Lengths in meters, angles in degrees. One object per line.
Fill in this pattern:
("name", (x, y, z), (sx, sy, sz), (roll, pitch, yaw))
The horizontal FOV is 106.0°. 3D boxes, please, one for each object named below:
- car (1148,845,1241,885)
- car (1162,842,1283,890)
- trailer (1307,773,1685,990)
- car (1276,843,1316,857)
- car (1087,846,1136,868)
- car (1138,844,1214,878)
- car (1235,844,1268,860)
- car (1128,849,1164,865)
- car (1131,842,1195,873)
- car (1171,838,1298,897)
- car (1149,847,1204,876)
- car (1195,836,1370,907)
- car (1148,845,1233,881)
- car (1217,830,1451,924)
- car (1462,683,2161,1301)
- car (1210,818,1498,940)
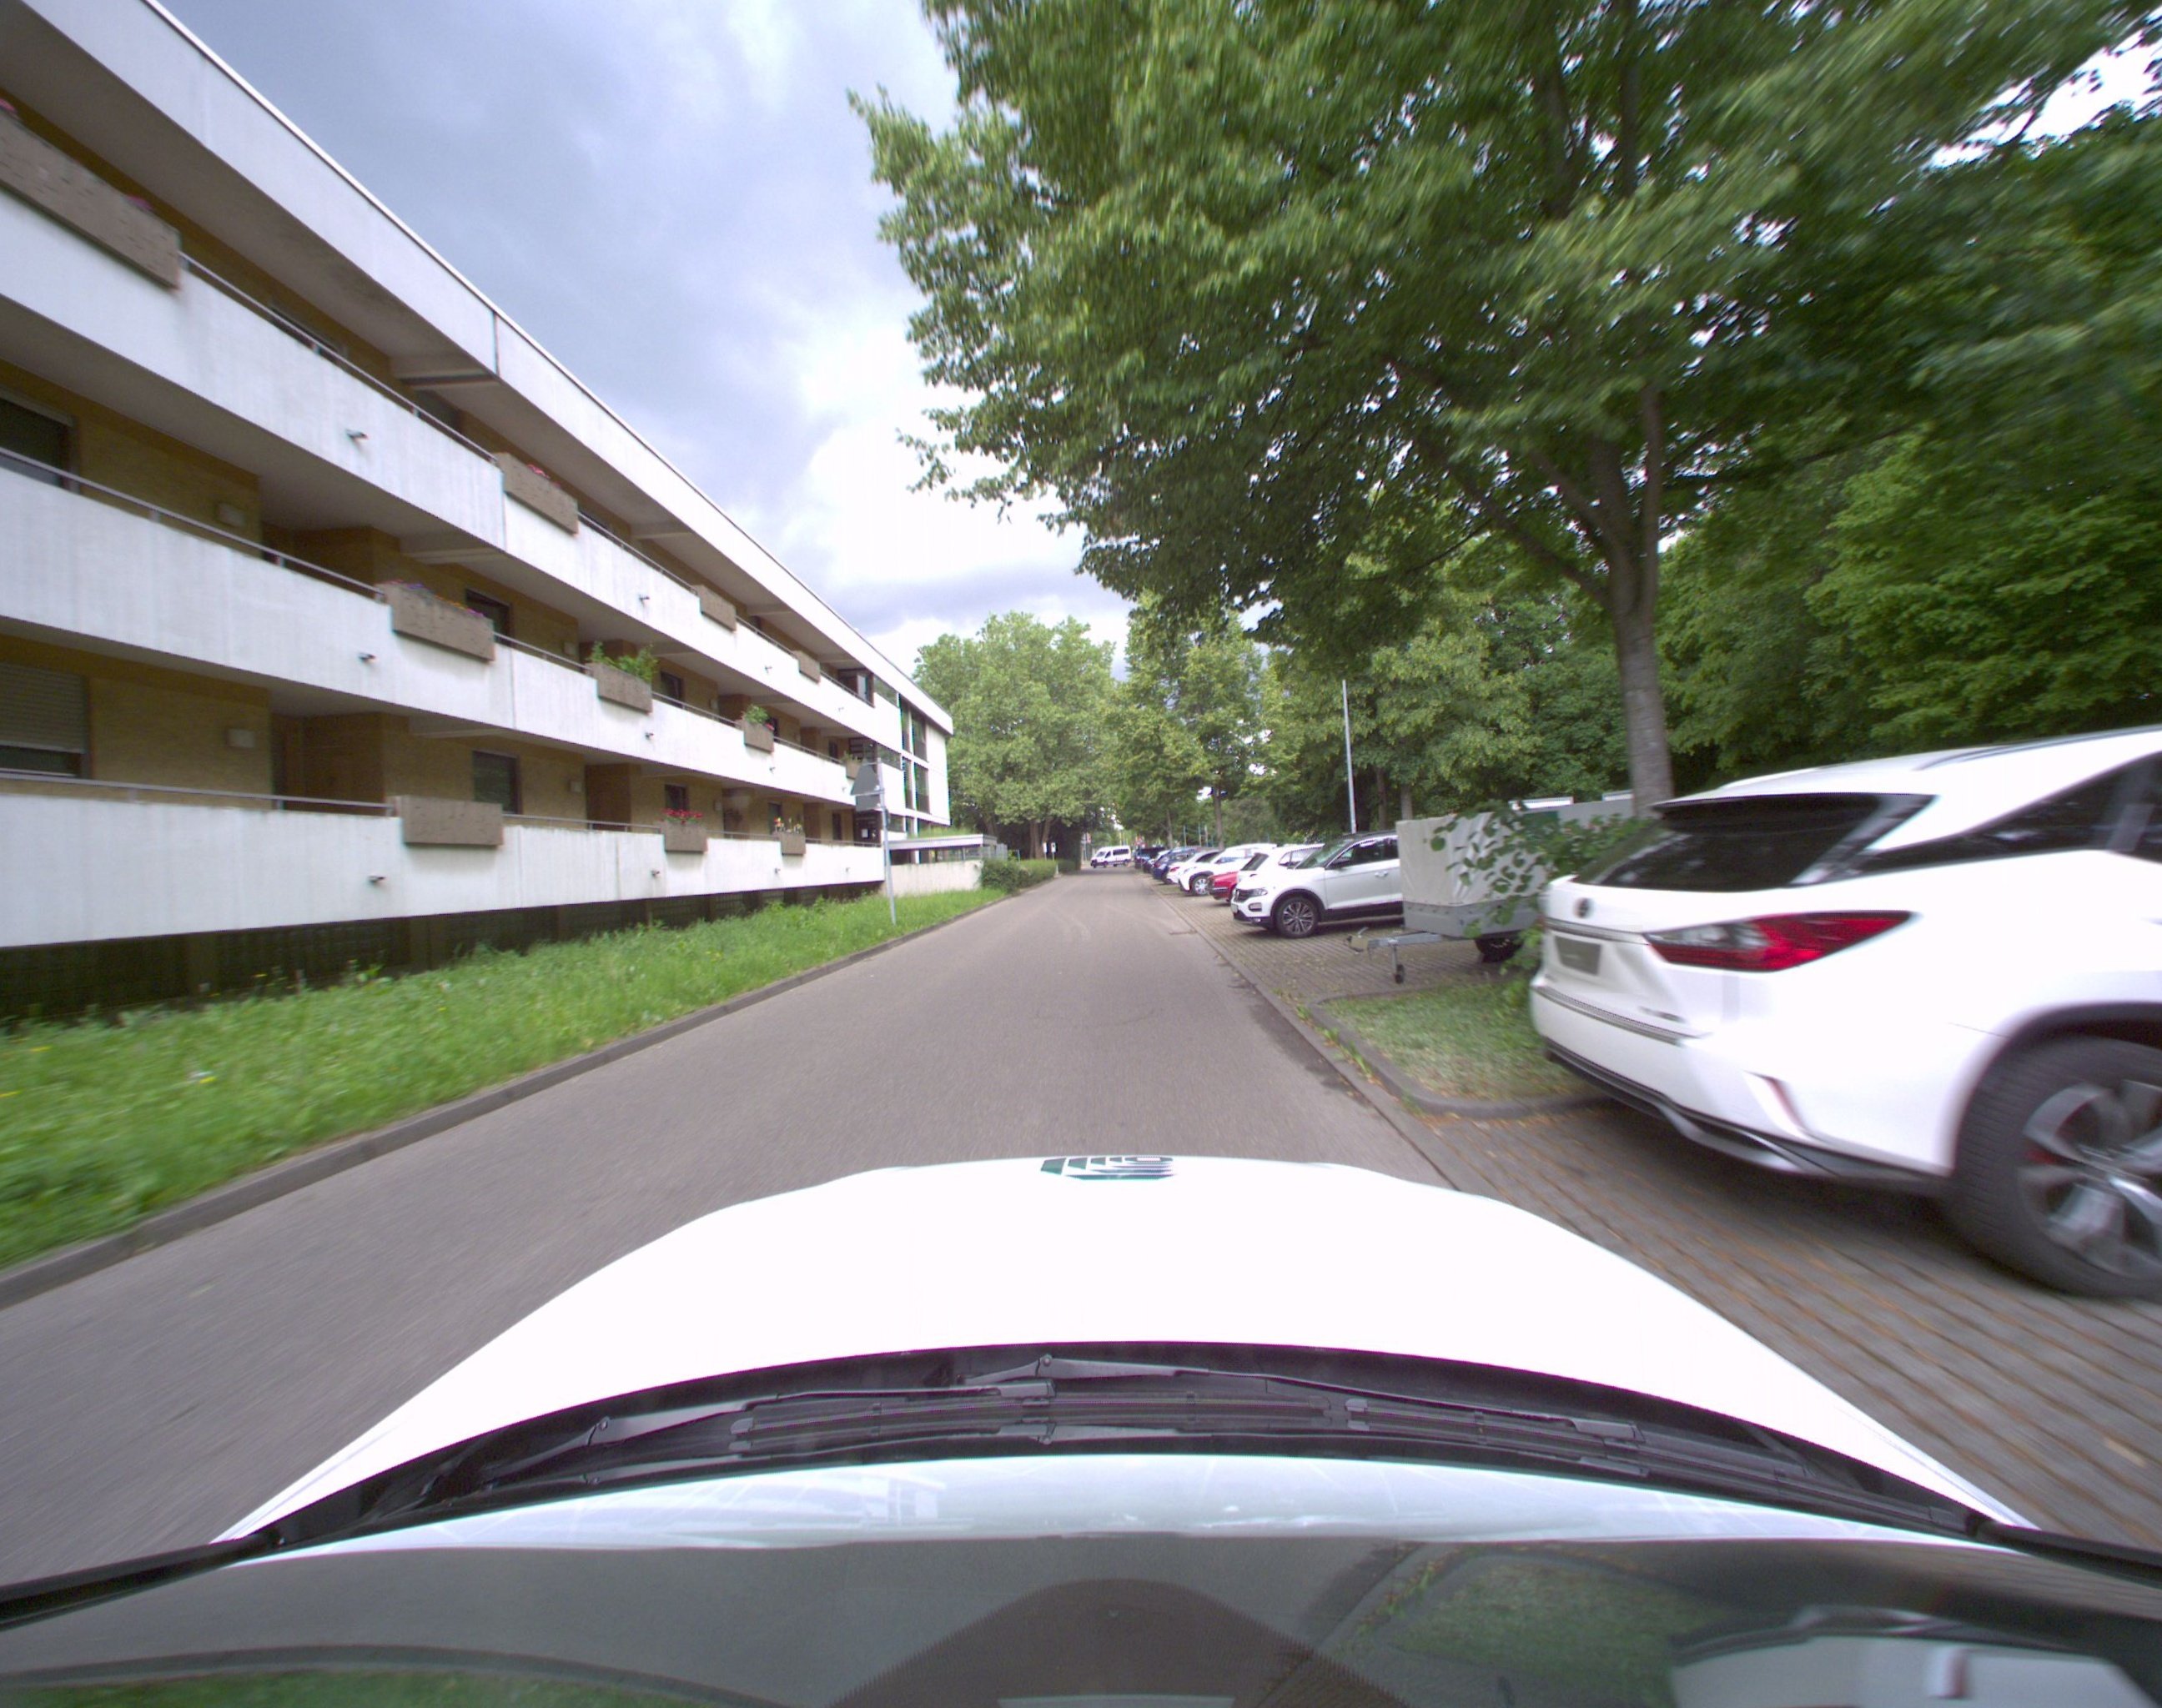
("car", (5.179, 0.519, 37.583), (4.056, 1.456, 1.852), (-5, -1, 3))
("car", (5.559, 0.477, 32.417), (4.468, 1.454, 1.847), (-5, -1, 2))
("trailer", (4.152, 0.264, 8.493), (3.021, 1.790, 1.563), (-5, -1, -1))
("car", (25.651, -0.455, 97.139), (4.368, 1.428, 1.707), (-4, -1, 8))
("car", (3.842, 0.401, 101.119), (6.312, 2.476, 2.113), (-2, 0, -44))
("car", (5.877, 0.431, 50.735), (4.399, 1.675, 2.083), (-5, 0, 2))
("car", (20.532, -0.209, 98.134), (3.756, 1.668, 1.772), (-4, -1, 9))
("car", (9.525, 0.462, 119.444), (4.952, 1.972, 1.848), (-5, -1, 3))
("car", (6.603, 0.303, 66.258), (4.933, 2.013, 2.168), (-6, -1, 3))
("car", (4.950, 0.431, 26.662), (3.822, 1.515, 1.883), (-5, -1, 5))
("car", (6.240, 0.448, 53.333), (3.366, 1.574, 1.798), (-5, 0, 2))
("car", (5.166, 0.436, 21.261), (4.040, 1.422, 1.817), (-5, -1, 1))
("car", (5.696, 0.485, 42.718), (4.062, 1.517, 1.850), (-5, -1, -2))
("car", (4.920, 0.435, 16.183), (3.999, 1.422, 1.790), (-5, -1, -4))
("car", (4.399, 0.257, 3.183), (4.795, 1.693, 1.977), (-5, -1, 5))
("car", (4.403, 0.394, 13.607), (4.101, 1.548, 1.860), (-5, -1, -1))
